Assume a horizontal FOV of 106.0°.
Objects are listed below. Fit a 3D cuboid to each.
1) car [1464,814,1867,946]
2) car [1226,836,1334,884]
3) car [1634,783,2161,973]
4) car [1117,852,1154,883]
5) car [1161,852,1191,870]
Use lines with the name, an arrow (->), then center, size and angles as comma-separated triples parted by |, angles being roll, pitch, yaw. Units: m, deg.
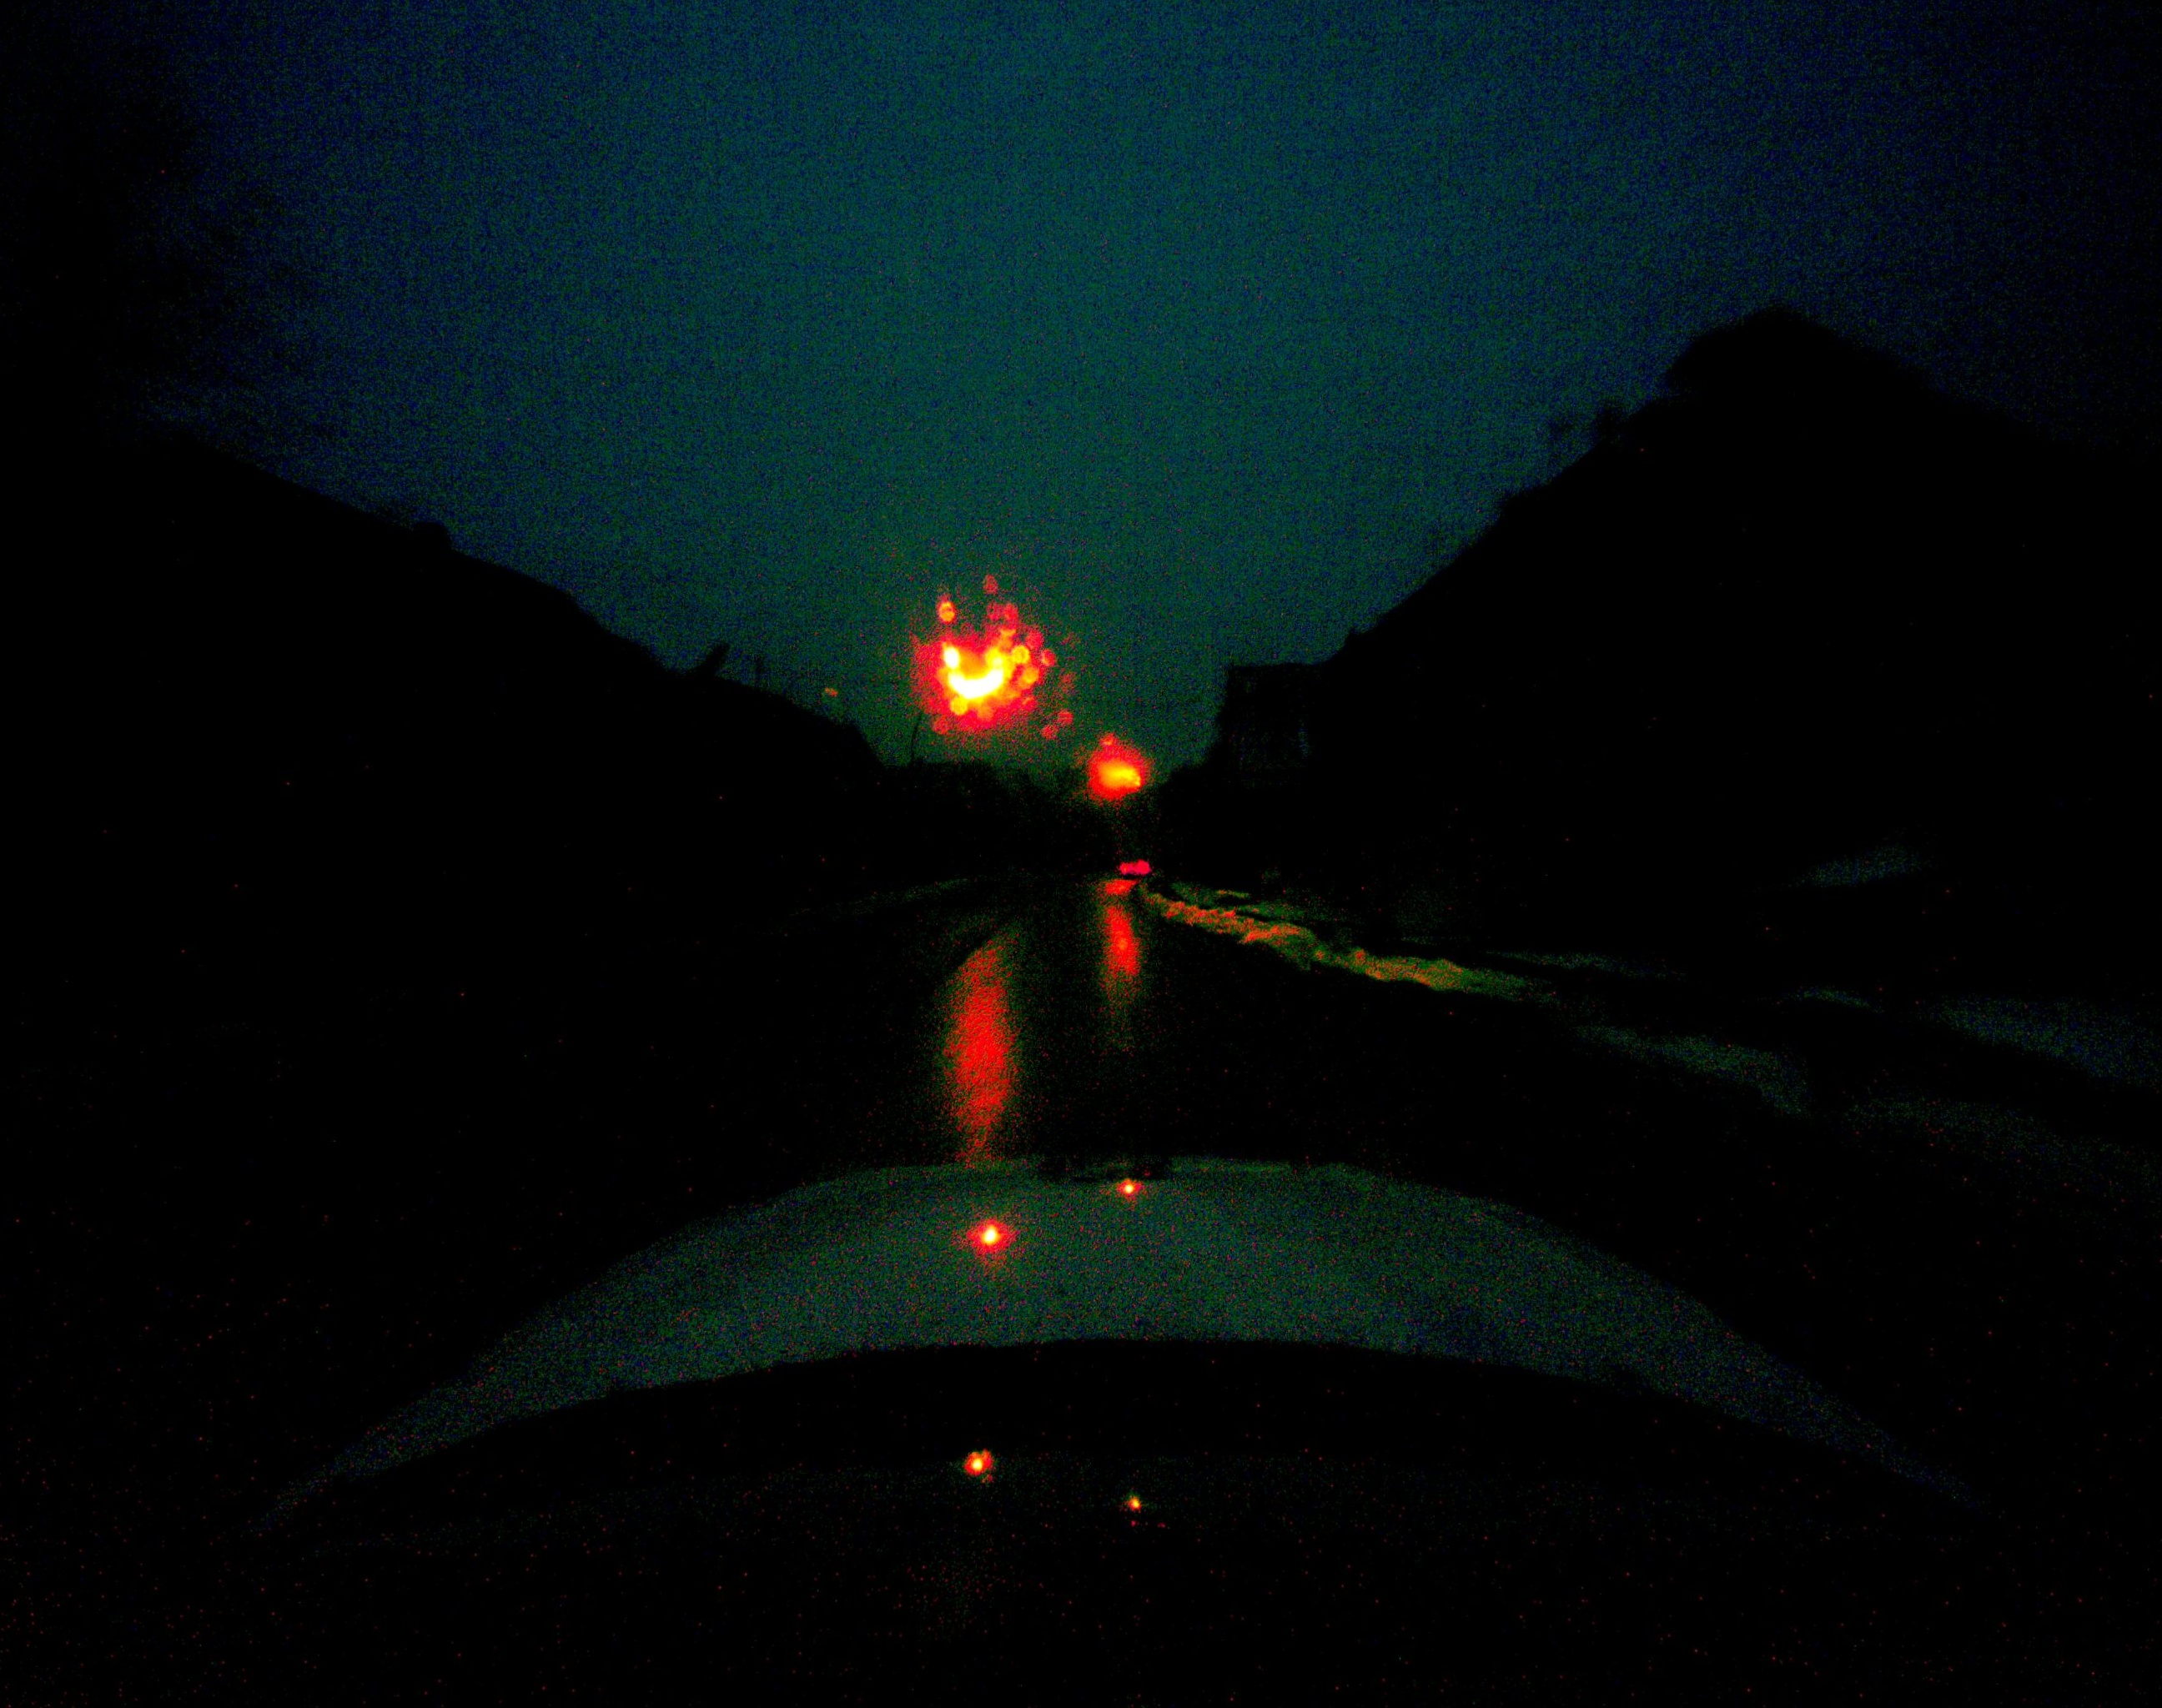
car -> 7.903, 0.395, 11.478 | 4.132, 1.559, 1.951 | -2, -2, 10
car -> 7.891, 0.257, 32.370 | 3.958, 1.690, 1.851 | -2, -1, 14
car -> 8.575, 0.287, 8.422 | 4.211, 1.559, 2.008 | -4, -4, 15
car -> 3.407, 0.882, 50.727 | 1.983, 1.737, 3.886 | -2, -3, 7
car -> 9.551, 0.751, 81.724 | 1.976, 1.651, 4.021 | -3, -2, 22
